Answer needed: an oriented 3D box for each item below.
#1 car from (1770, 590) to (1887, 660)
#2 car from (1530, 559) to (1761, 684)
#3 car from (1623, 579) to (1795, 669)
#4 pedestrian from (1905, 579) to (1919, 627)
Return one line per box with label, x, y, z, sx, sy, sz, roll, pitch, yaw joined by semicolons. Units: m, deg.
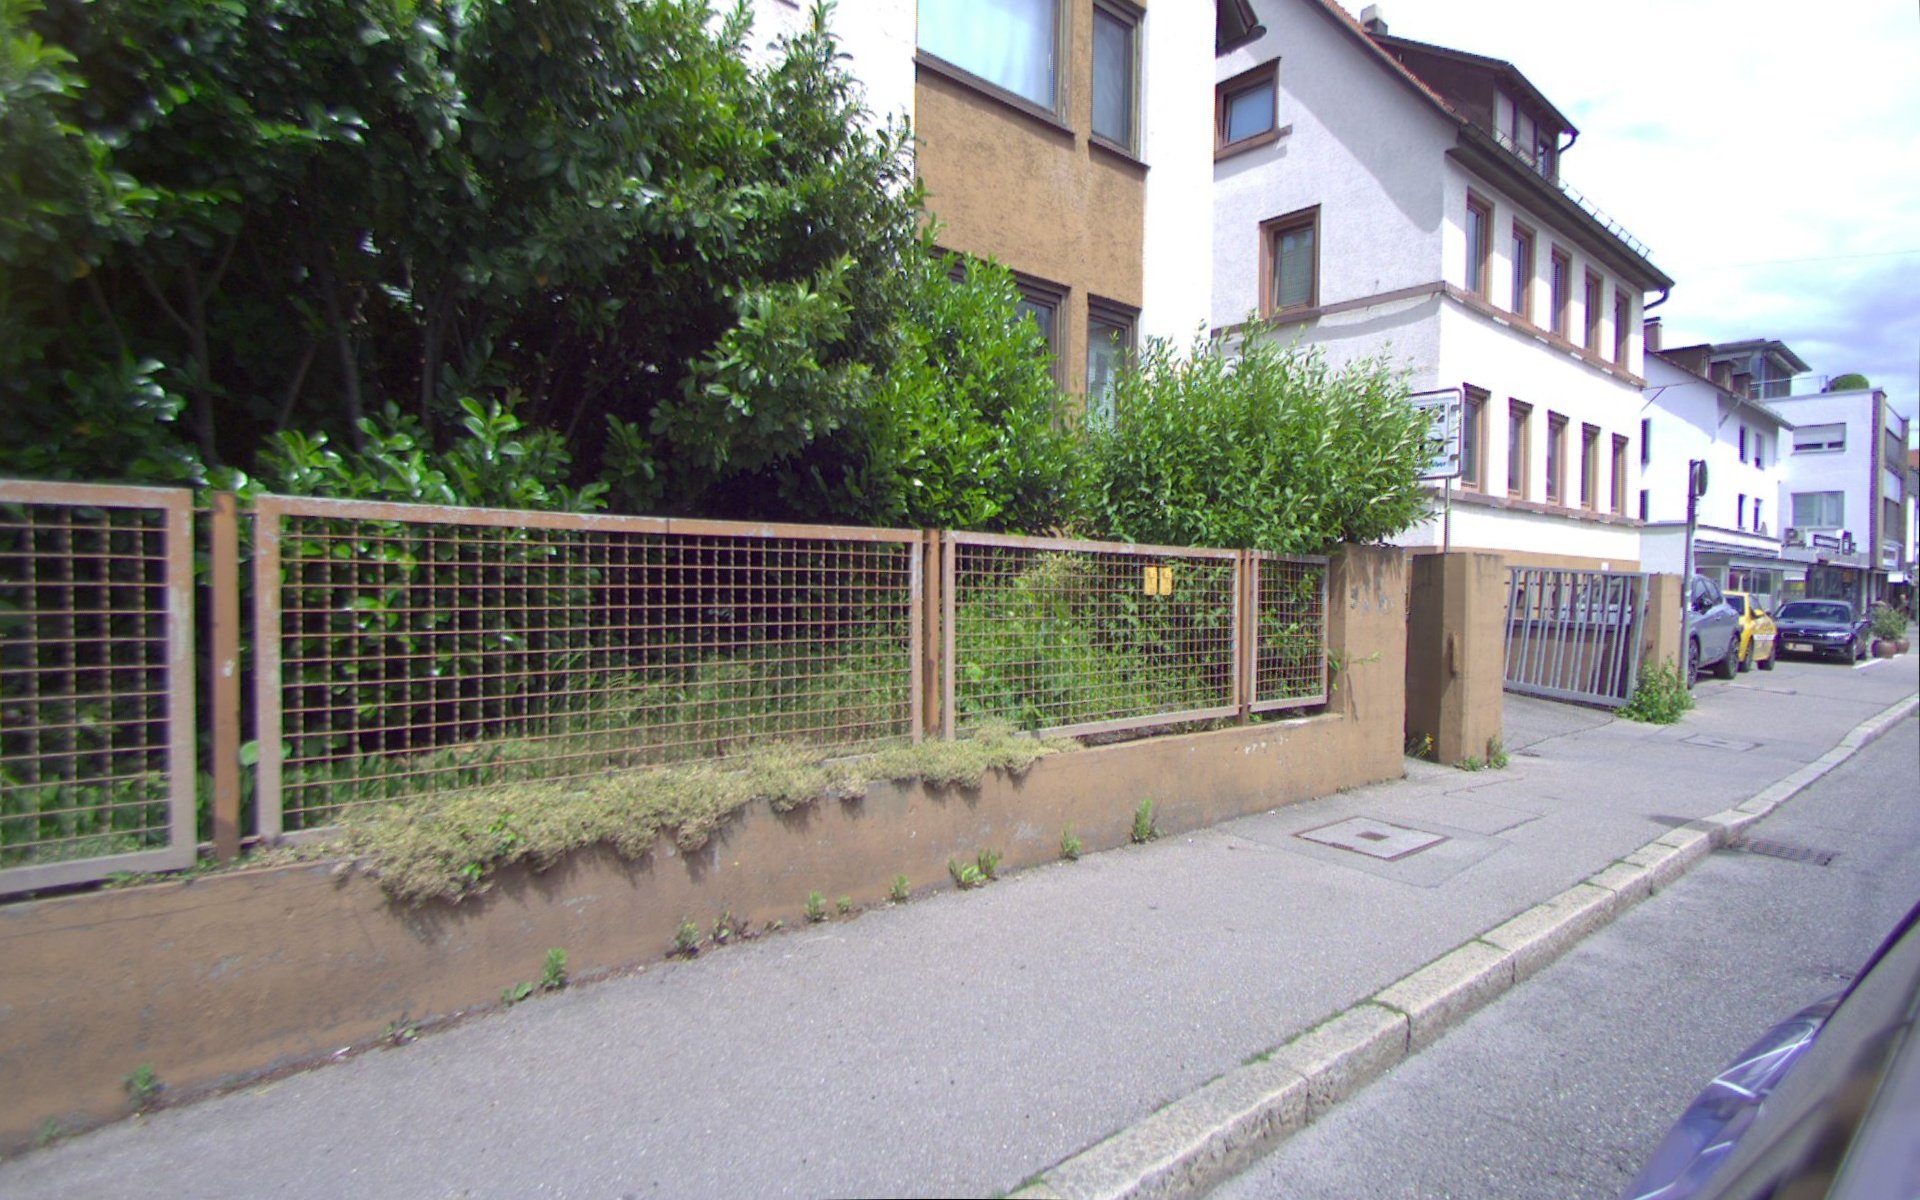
car;20.430;0.532;23.759;3.933;1.439;1.654;0;2;-43
car;10.510;0.253;15.417;4.030;1.639;1.997;0;2;-42
car;13.906;0.374;18.715;3.934;1.430;1.922;0;2;-44
pedestrian;42.003;0.128;44.506;0.902;2.046;0.476;0;1;-40
